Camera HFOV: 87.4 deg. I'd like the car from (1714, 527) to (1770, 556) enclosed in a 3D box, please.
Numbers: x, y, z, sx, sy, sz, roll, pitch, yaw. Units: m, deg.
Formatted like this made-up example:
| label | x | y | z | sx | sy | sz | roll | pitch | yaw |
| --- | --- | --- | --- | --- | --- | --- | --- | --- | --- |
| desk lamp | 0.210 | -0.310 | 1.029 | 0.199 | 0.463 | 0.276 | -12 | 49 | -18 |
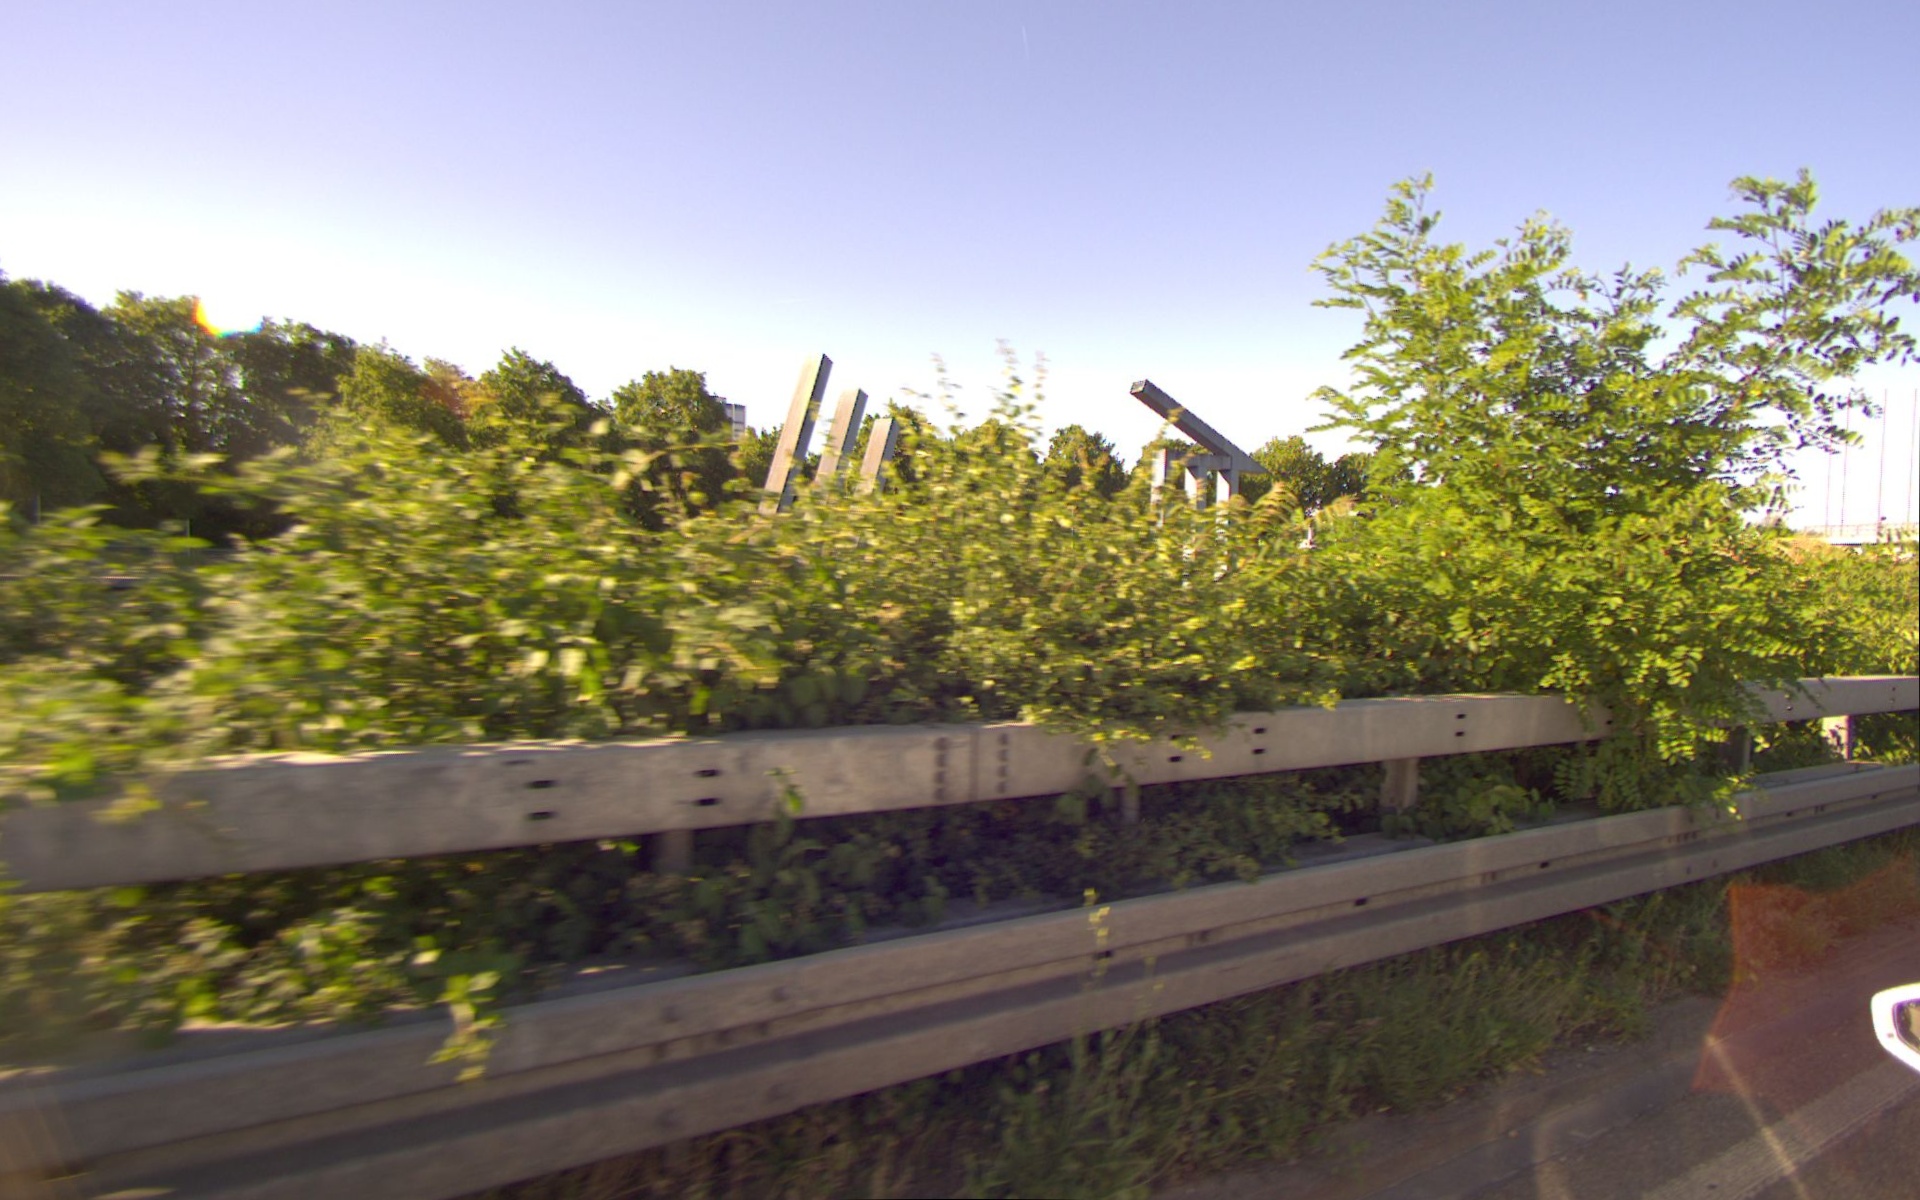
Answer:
| label | x | y | z | sx | sy | sz | roll | pitch | yaw |
| --- | --- | --- | --- | --- | --- | --- | --- | --- | --- |
| car | 81.913 | -6.096 | 105.321 | 2.043 | 2.843 | 4.315 | 1 | 1 | -10 |
